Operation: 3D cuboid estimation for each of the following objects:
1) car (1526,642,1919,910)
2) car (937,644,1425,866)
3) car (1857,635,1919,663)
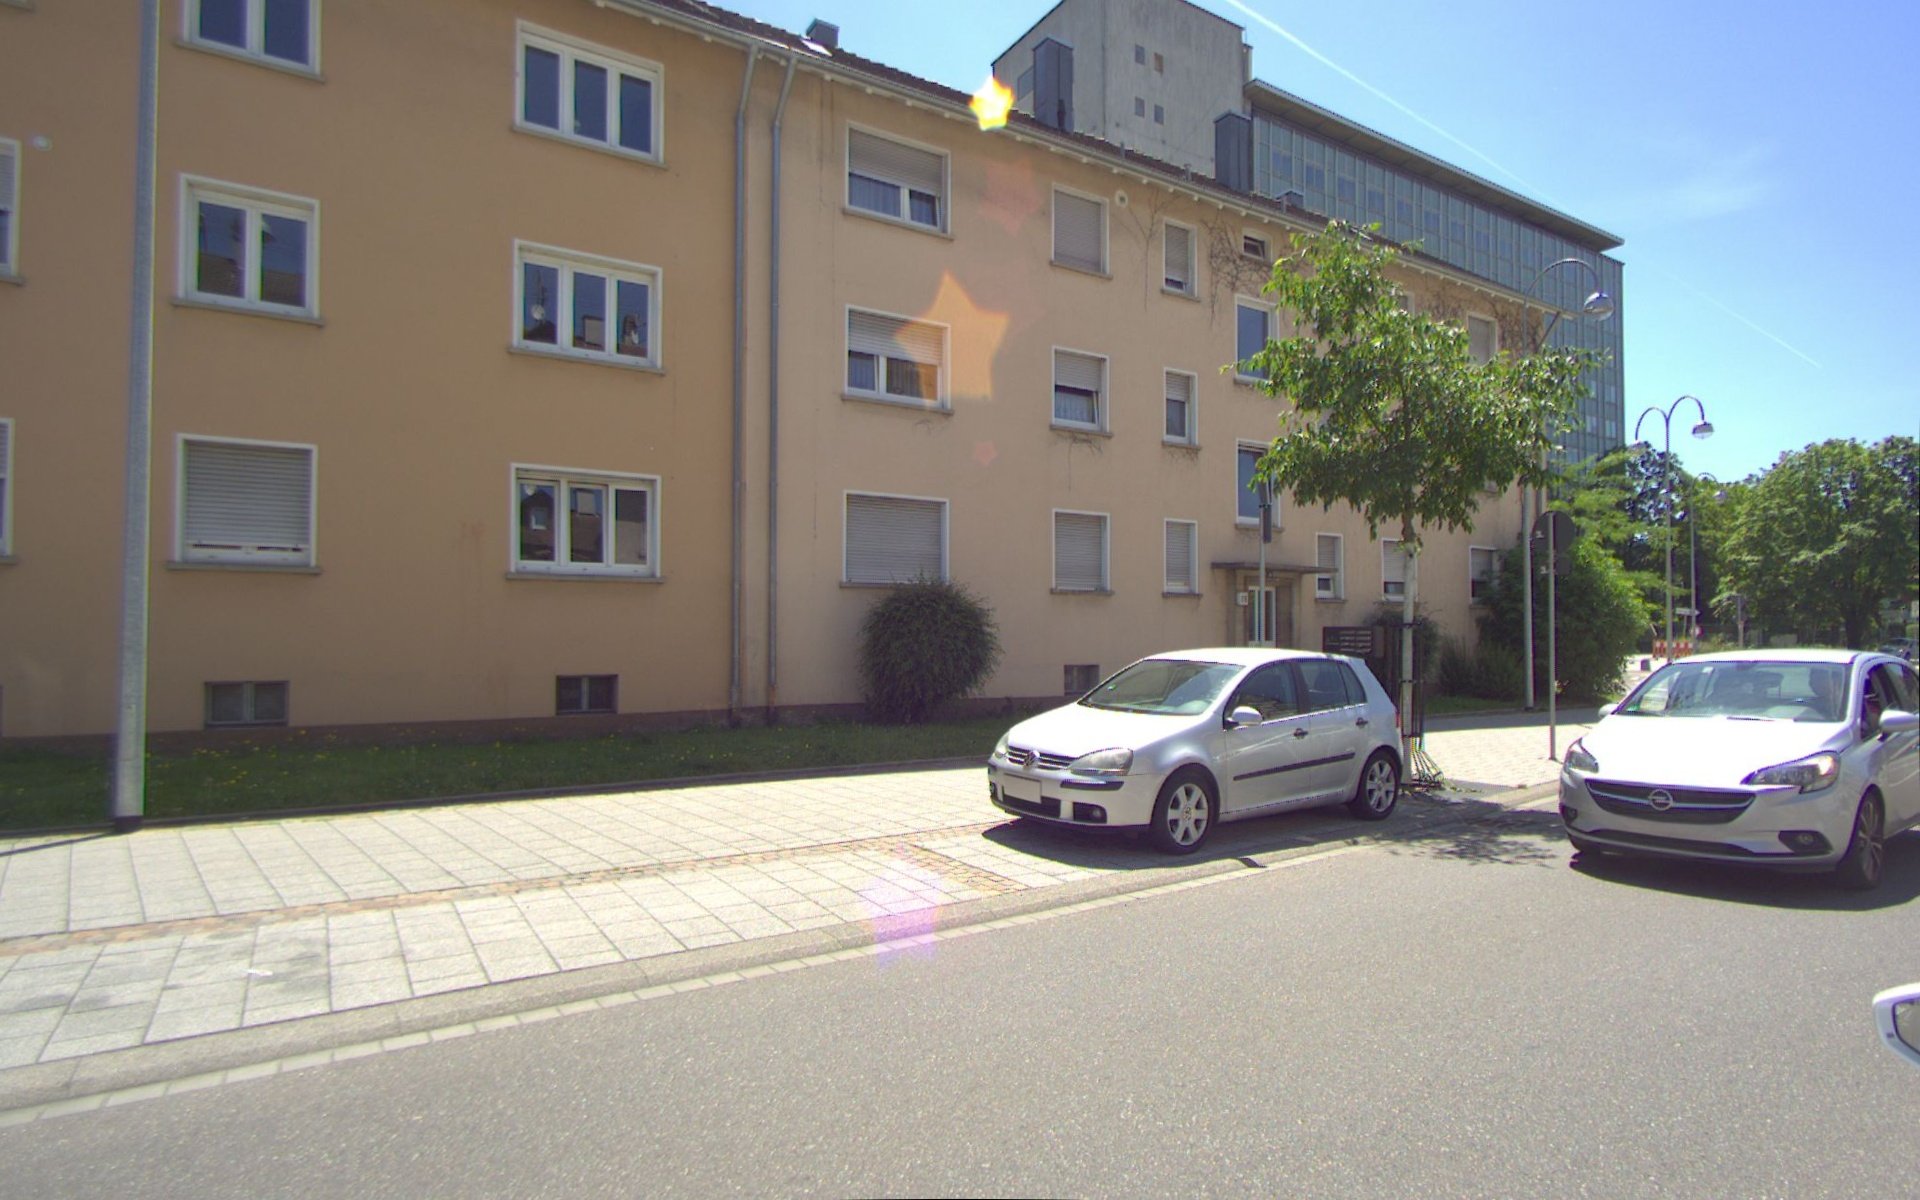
[{"bbox_3d":[5.971,1.083,7.474,3.722,1.516,1.649,2,-3,-35],"label":"car"},{"bbox_3d":[2.020,1.137,8.693,4.051,1.438,1.979,3,-3,-37],"label":"car"},{"bbox_3d":[60.481,3.176,65.216,3.864,1.618,1.782,4,-3,-22],"label":"car"}]
